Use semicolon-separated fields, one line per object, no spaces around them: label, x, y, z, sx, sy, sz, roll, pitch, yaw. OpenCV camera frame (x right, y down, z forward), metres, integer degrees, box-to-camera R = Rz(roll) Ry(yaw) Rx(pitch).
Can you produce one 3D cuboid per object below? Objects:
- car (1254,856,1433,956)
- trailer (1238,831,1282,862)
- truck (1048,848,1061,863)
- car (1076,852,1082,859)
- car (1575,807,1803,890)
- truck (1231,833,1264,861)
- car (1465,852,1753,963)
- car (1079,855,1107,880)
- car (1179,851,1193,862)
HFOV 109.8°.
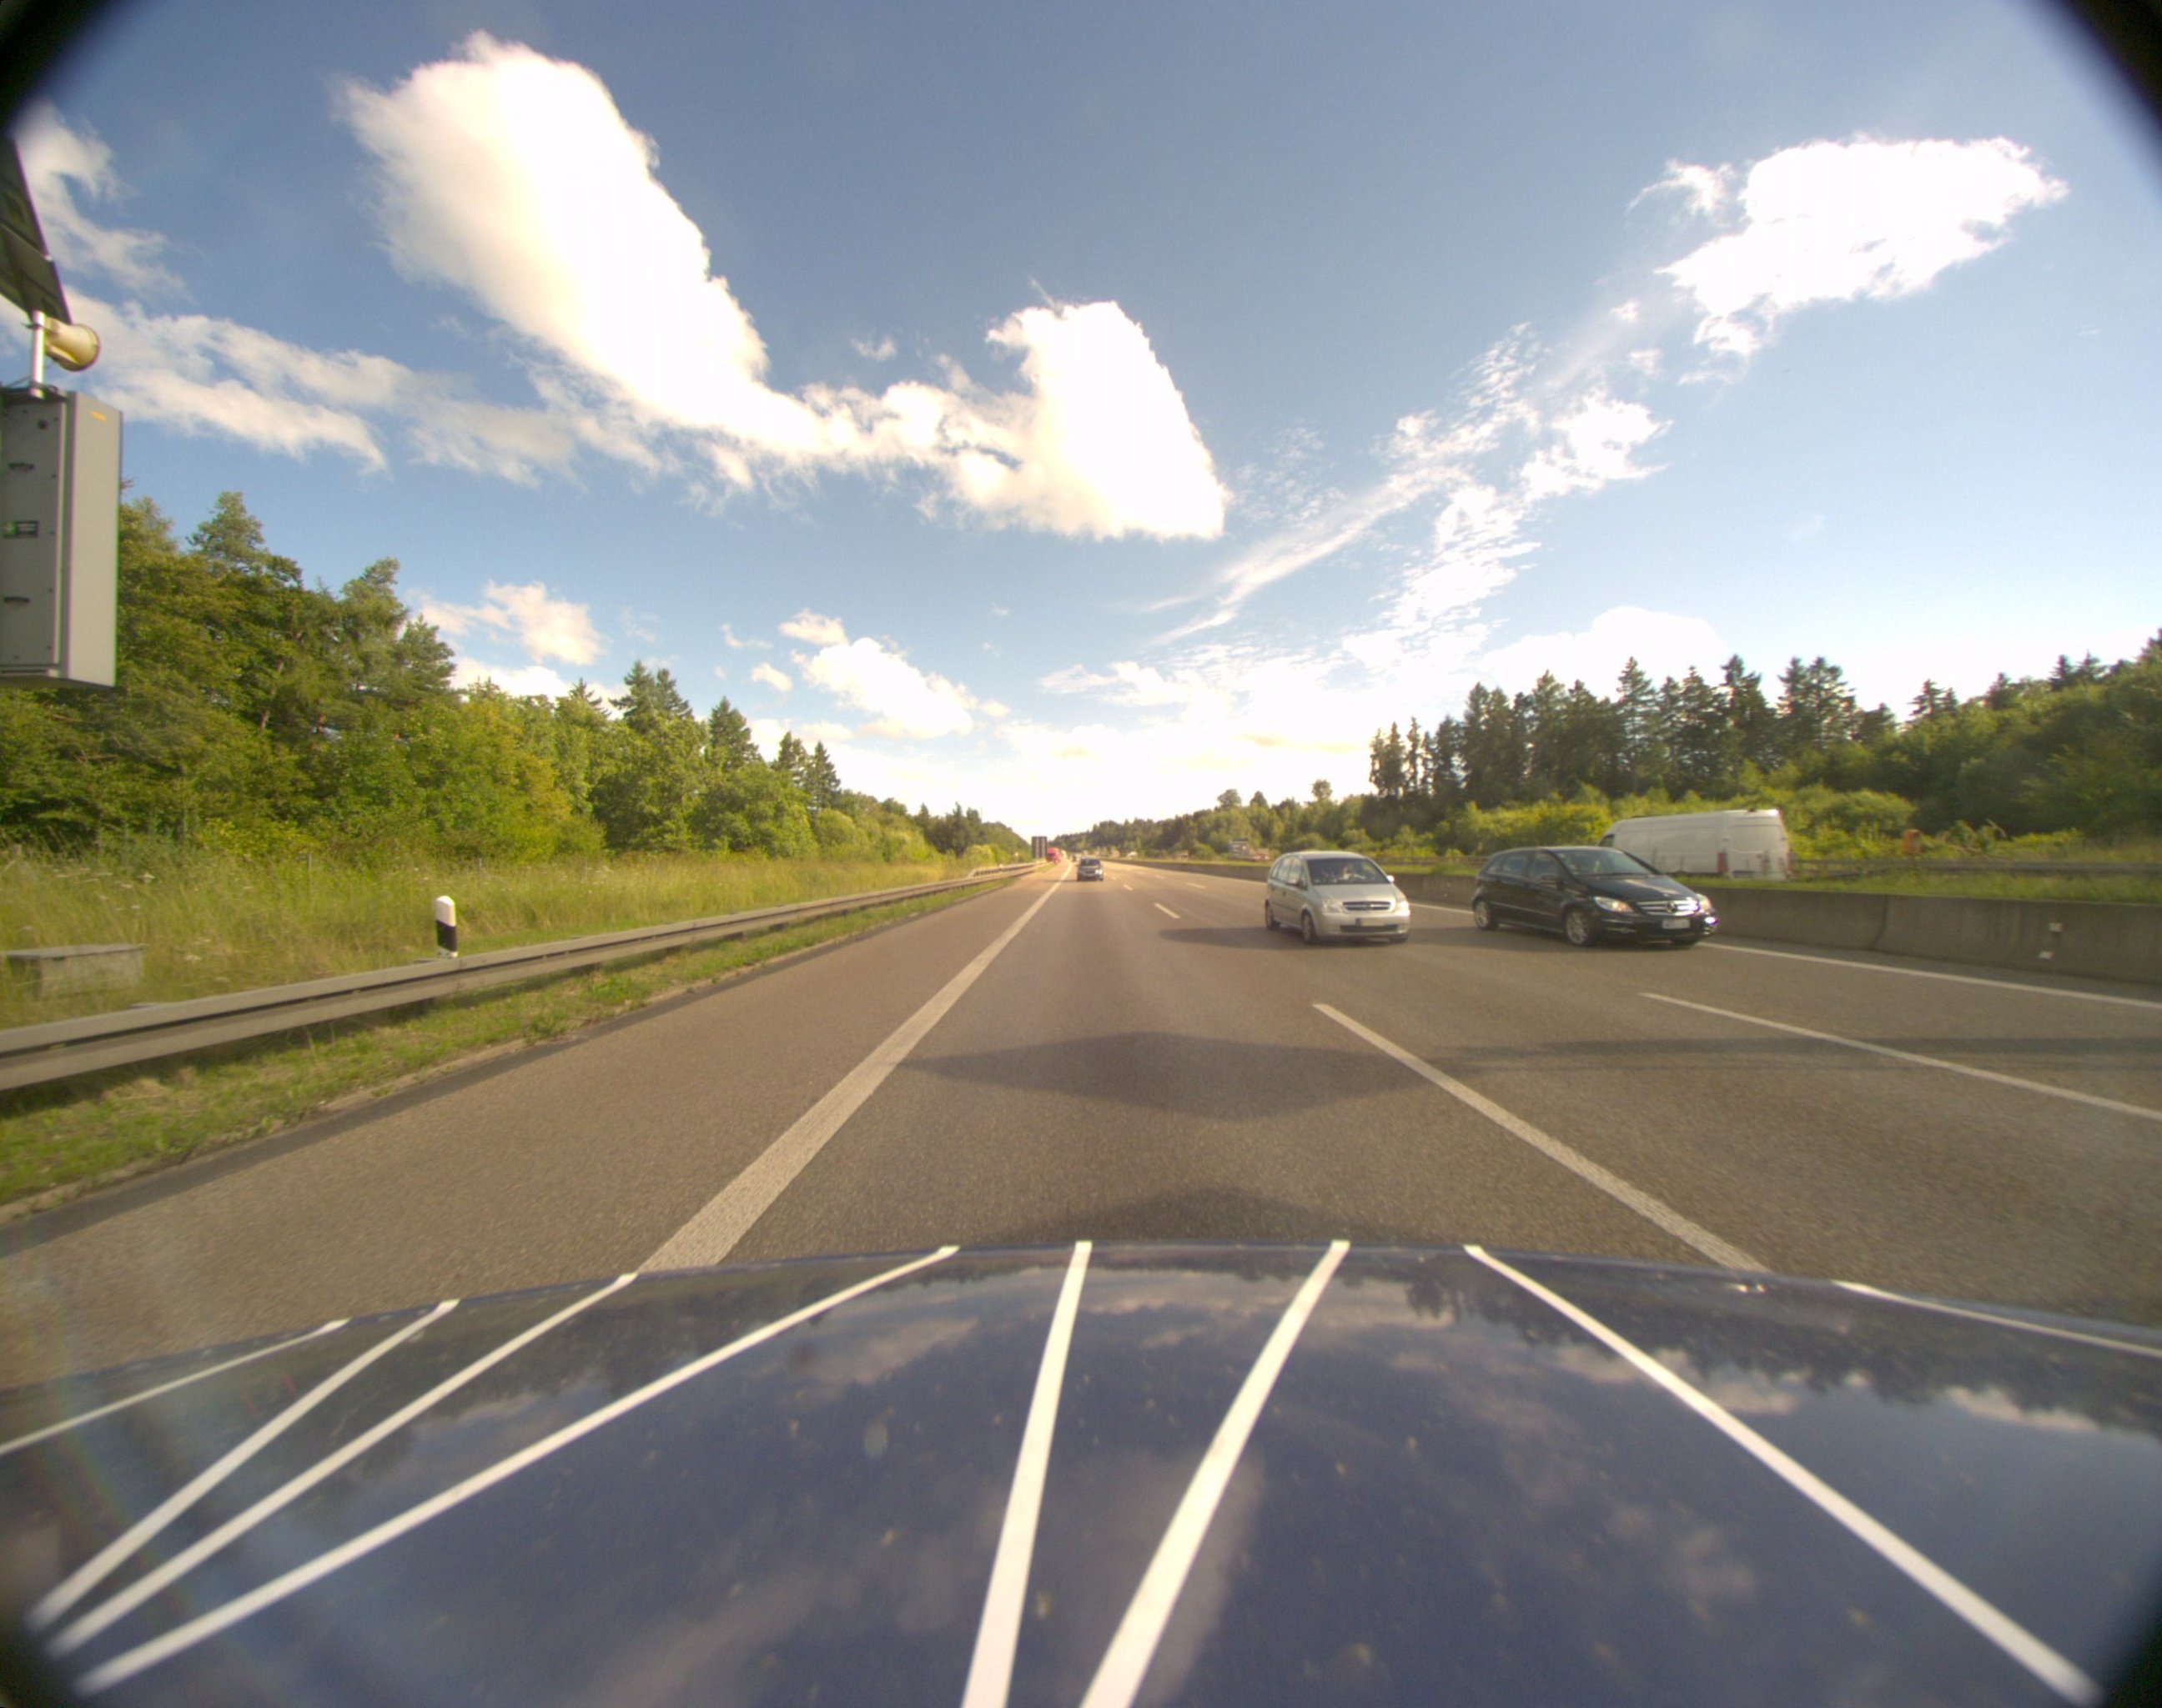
car;4.593;0.822;14.035;1.840;1.508;4.333;-1;0;1
trailer;23.996;-0.926;102.601;3.132;3.815;12.208;-1;0;0
truck;-6.953;0.398;200.730;2.880;3.871;8.958;-2;0;0
car;-0.713;0.427;249.488;1.998;2.124;4.000;-1;0;1
car;19.502;-0.166;24.992;2.114;2.299;6.724;-1;0;0
truck;24.034;-0.948;109.873;3.122;3.815;7.123;-1;0;0
car;8.445;0.748;12.748;1.840;1.508;4.333;-1;0;1
car;0.808;0.881;51.304;1.742;1.608;4.083;-1;0;1
car;19.919;0.513;144.117;1.998;2.002;4.859;-1;0;1
